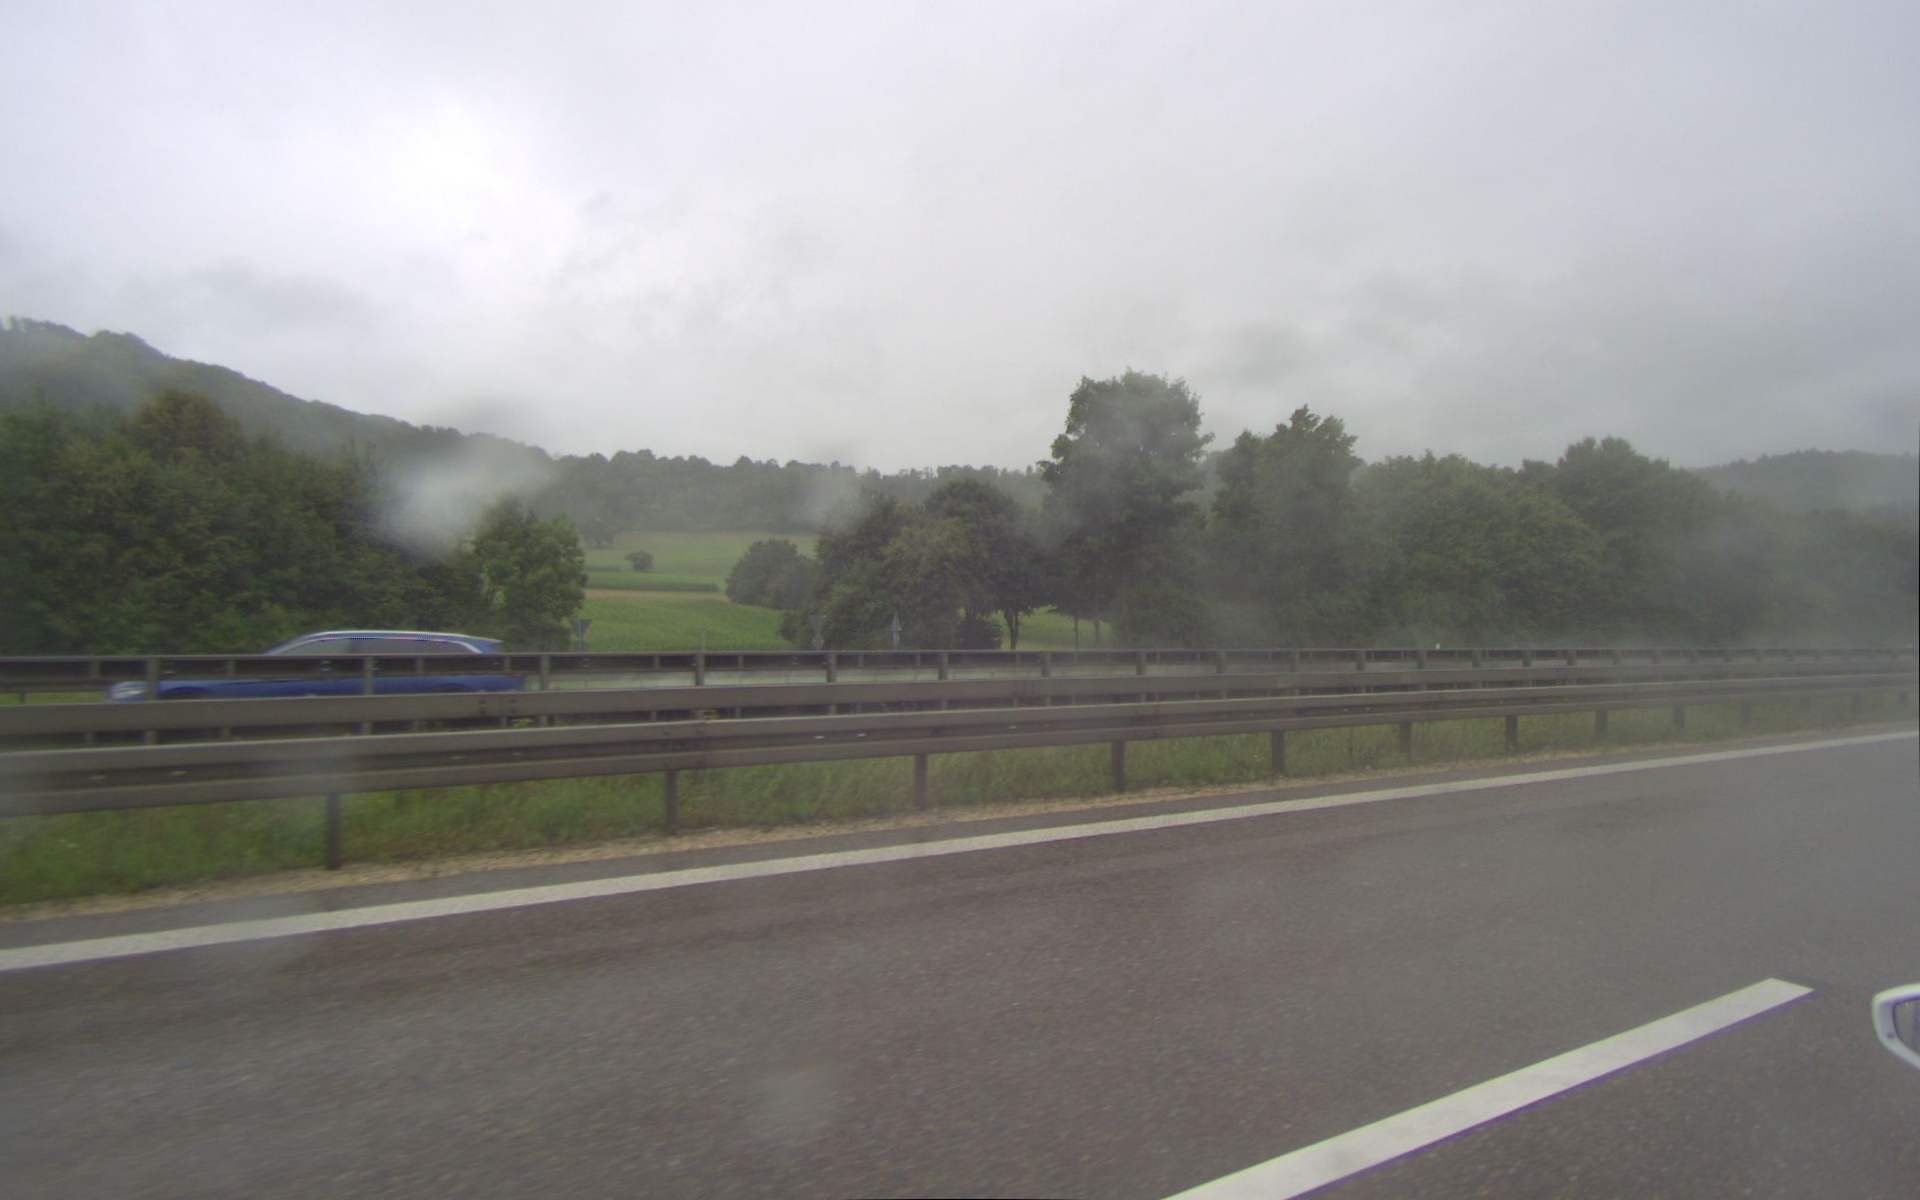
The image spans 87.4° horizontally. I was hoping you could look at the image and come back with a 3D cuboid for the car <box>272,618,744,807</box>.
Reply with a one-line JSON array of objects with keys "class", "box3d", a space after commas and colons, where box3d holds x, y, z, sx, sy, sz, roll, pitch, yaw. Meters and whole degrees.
[{"class": "car", "box3d": [-6.499, 1.454, 14.948, 5.927, 2.258, 2.614, 1, 0, -30]}]
